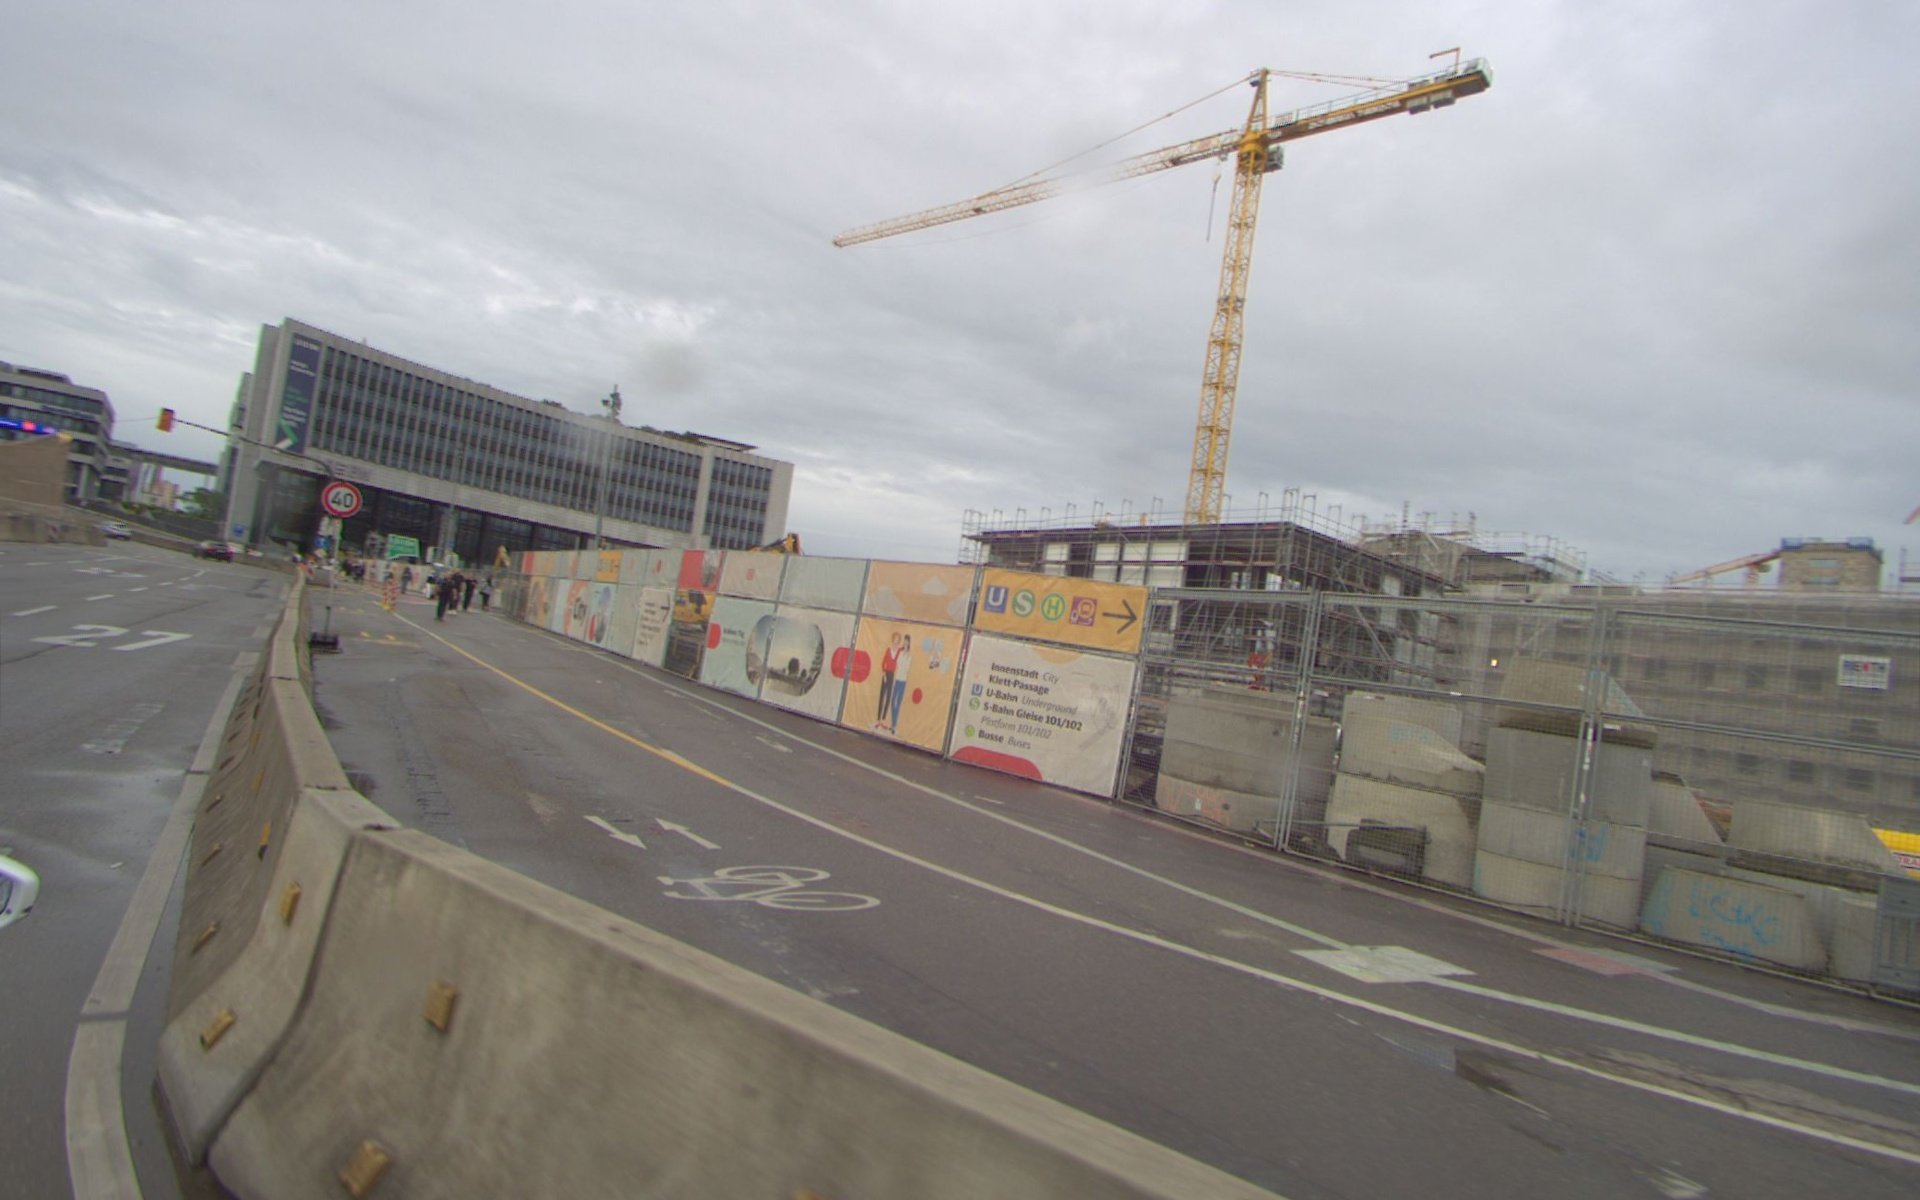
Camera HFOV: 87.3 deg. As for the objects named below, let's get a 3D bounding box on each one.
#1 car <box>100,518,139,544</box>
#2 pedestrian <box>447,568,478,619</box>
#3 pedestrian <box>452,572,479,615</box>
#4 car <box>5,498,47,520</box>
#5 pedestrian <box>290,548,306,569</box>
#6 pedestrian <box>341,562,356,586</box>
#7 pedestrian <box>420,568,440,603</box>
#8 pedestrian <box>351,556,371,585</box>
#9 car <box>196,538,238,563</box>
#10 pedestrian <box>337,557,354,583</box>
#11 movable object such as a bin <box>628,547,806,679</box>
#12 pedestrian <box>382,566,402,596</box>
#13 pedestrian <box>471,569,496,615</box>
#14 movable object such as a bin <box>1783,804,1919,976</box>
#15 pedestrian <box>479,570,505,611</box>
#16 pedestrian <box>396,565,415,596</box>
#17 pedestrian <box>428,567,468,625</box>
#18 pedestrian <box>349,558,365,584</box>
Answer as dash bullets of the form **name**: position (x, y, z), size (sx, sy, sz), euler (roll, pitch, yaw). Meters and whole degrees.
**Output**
- **car**: position (-76.815, -6.339, 91.924), size (3.719, 1.896, 1.741), euler (7, -3, 36)
- **pedestrian**: position (-19.950, -0.256, 40.345), size (0.792, 1.898, 0.813), euler (10, -3, -33)
- **pedestrian**: position (-22.634, -0.304, 46.067), size (0.792, 1.854, 0.621), euler (10, -2, -33)
- **car**: position (-88.276, -8.615, 95.100), size (3.690, 1.522, 1.747), euler (7, -3, 30)
- **pedestrian**: position (-56.398, -3.532, 85.742), size (0.812, 1.660, 0.750), euler (7, -2, 43)
- **pedestrian**: position (-55.470, -2.352, 91.241), size (0.778, 2.036, 0.857), euler (10, -2, -28)
- **pedestrian**: position (-30.539, -0.830, 57.984), size (0.662, 1.882, 0.676), euler (10, -2, -38)
- **pedestrian**: position (-42.798, -2.088, 71.883), size (0.867, 1.882, 0.939), euler (10, -2, -38)
- **car**: position (-56.181, -3.734, 76.071), size (3.696, 1.523, 1.674), euler (3, -6, 42)
- **pedestrian**: position (-47.761, -2.315, 78.200), size (0.815, 1.848, 1.100), euler (9, -2, -37)
- **movable object such as a bin**: position (-7.904, 0.374, 32.469), size (3.909, 3.531, 4.315), euler (9, -2, -35)
- **pedestrian**: position (-37.667, -1.253, 66.745), size (0.776, 1.882, 0.939), euler (10, -2, -38)
- **pedestrian**: position (-22.133, -0.381, 46.701), size (0.675, 2.036, 0.680), euler (9, -1, -33)
- **movable object such as a bin**: position (10.177, 3.132, 10.599), size (1.175, 1.487, 1.882), euler (9, -1, -27)
- **pedestrian**: position (-22.937, -0.478, 49.302), size (0.784, 1.882, 0.676), euler (10, -2, -38)
- **pedestrian**: position (-35.426, -1.239, 64.235), size (0.687, 1.882, 0.803), euler (10, -2, -38)
- **pedestrian**: position (-17.496, -0.136, 34.378), size (0.920, 1.854, 0.680), euler (10, -3, -33)
- **pedestrian**: position (-47.645, -2.278, 79.476), size (0.776, 1.882, 0.803), euler (10, -2, -38)
